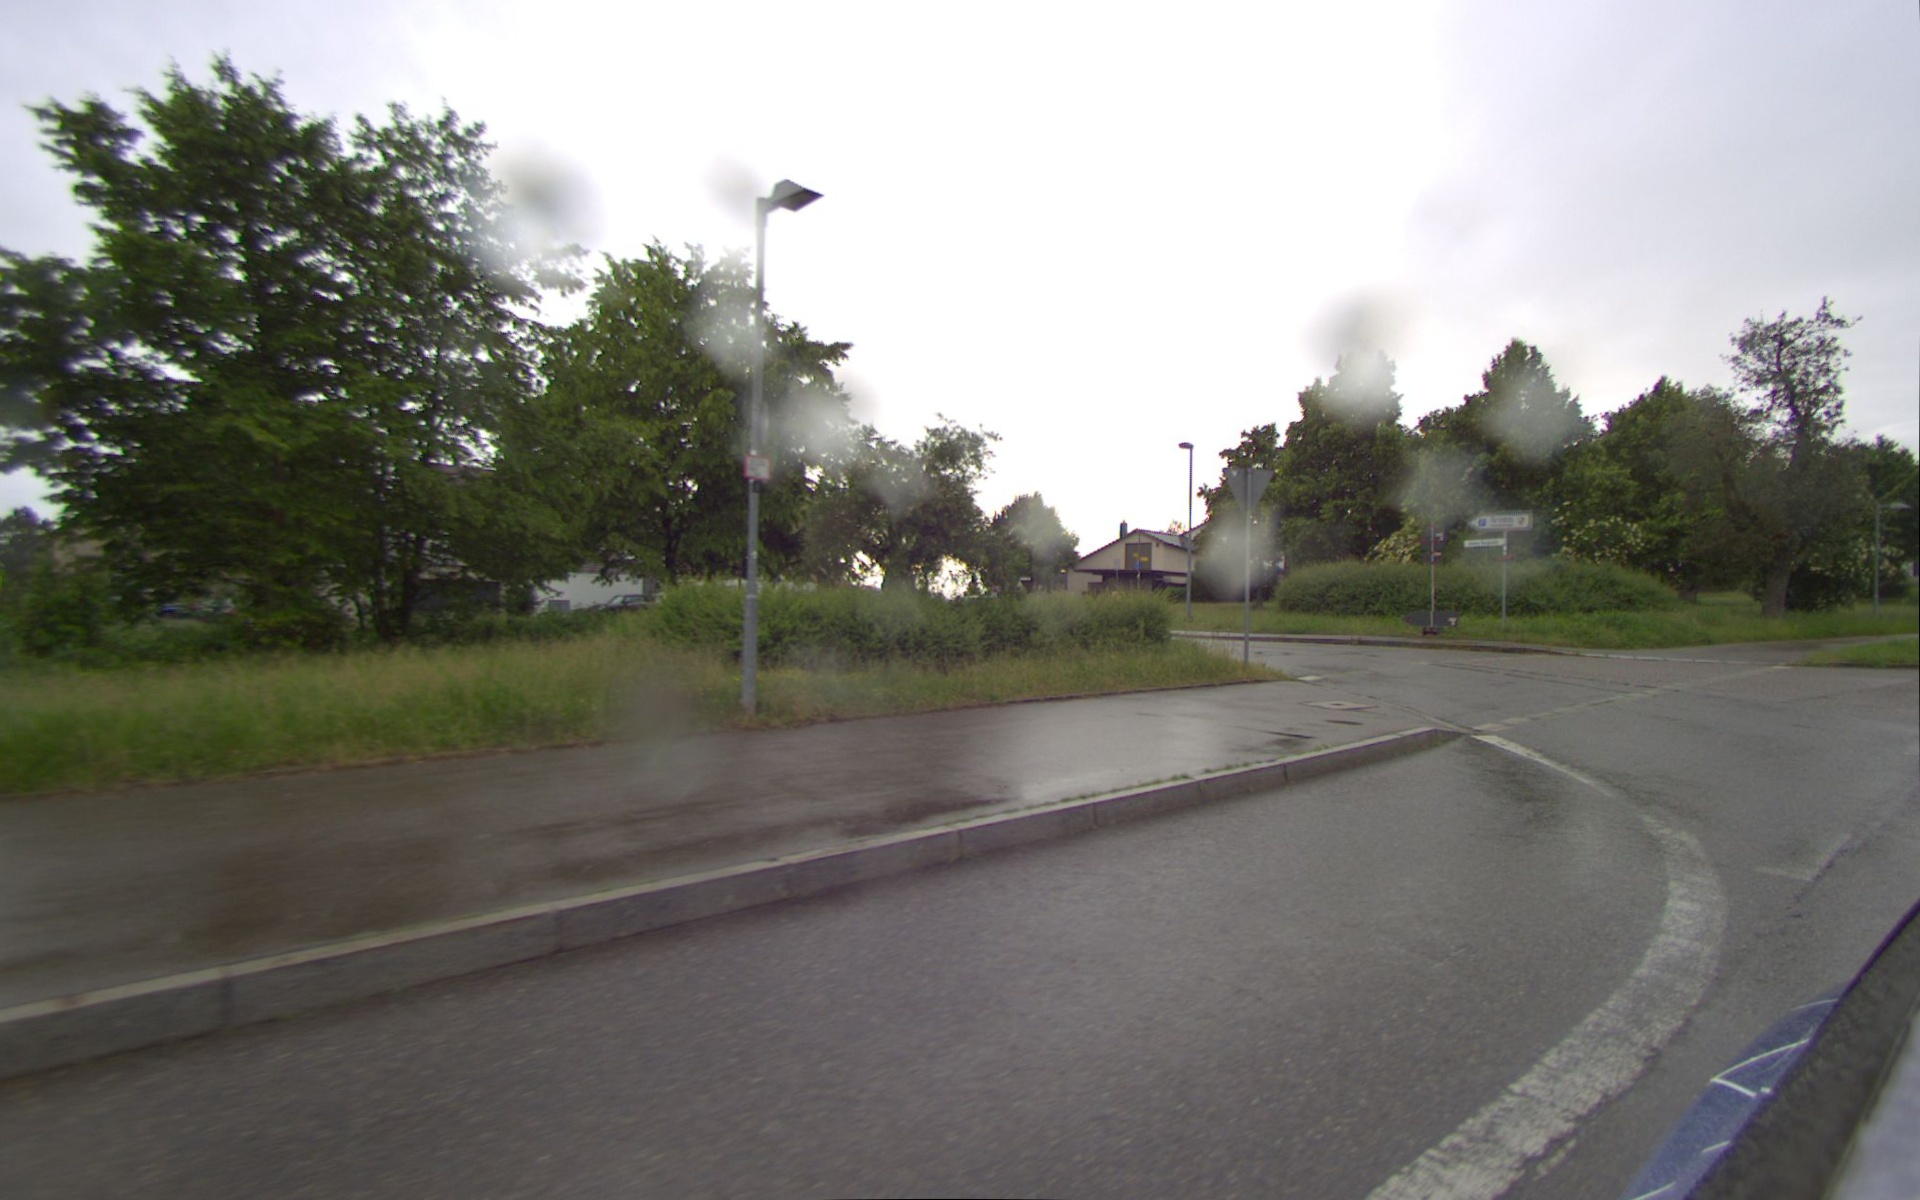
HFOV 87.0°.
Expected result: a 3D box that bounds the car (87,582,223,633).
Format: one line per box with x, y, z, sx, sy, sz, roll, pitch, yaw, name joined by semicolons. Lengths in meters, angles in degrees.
-29.876;0.263;37.587;3.941;1.772;1.971;1;0;14;car
